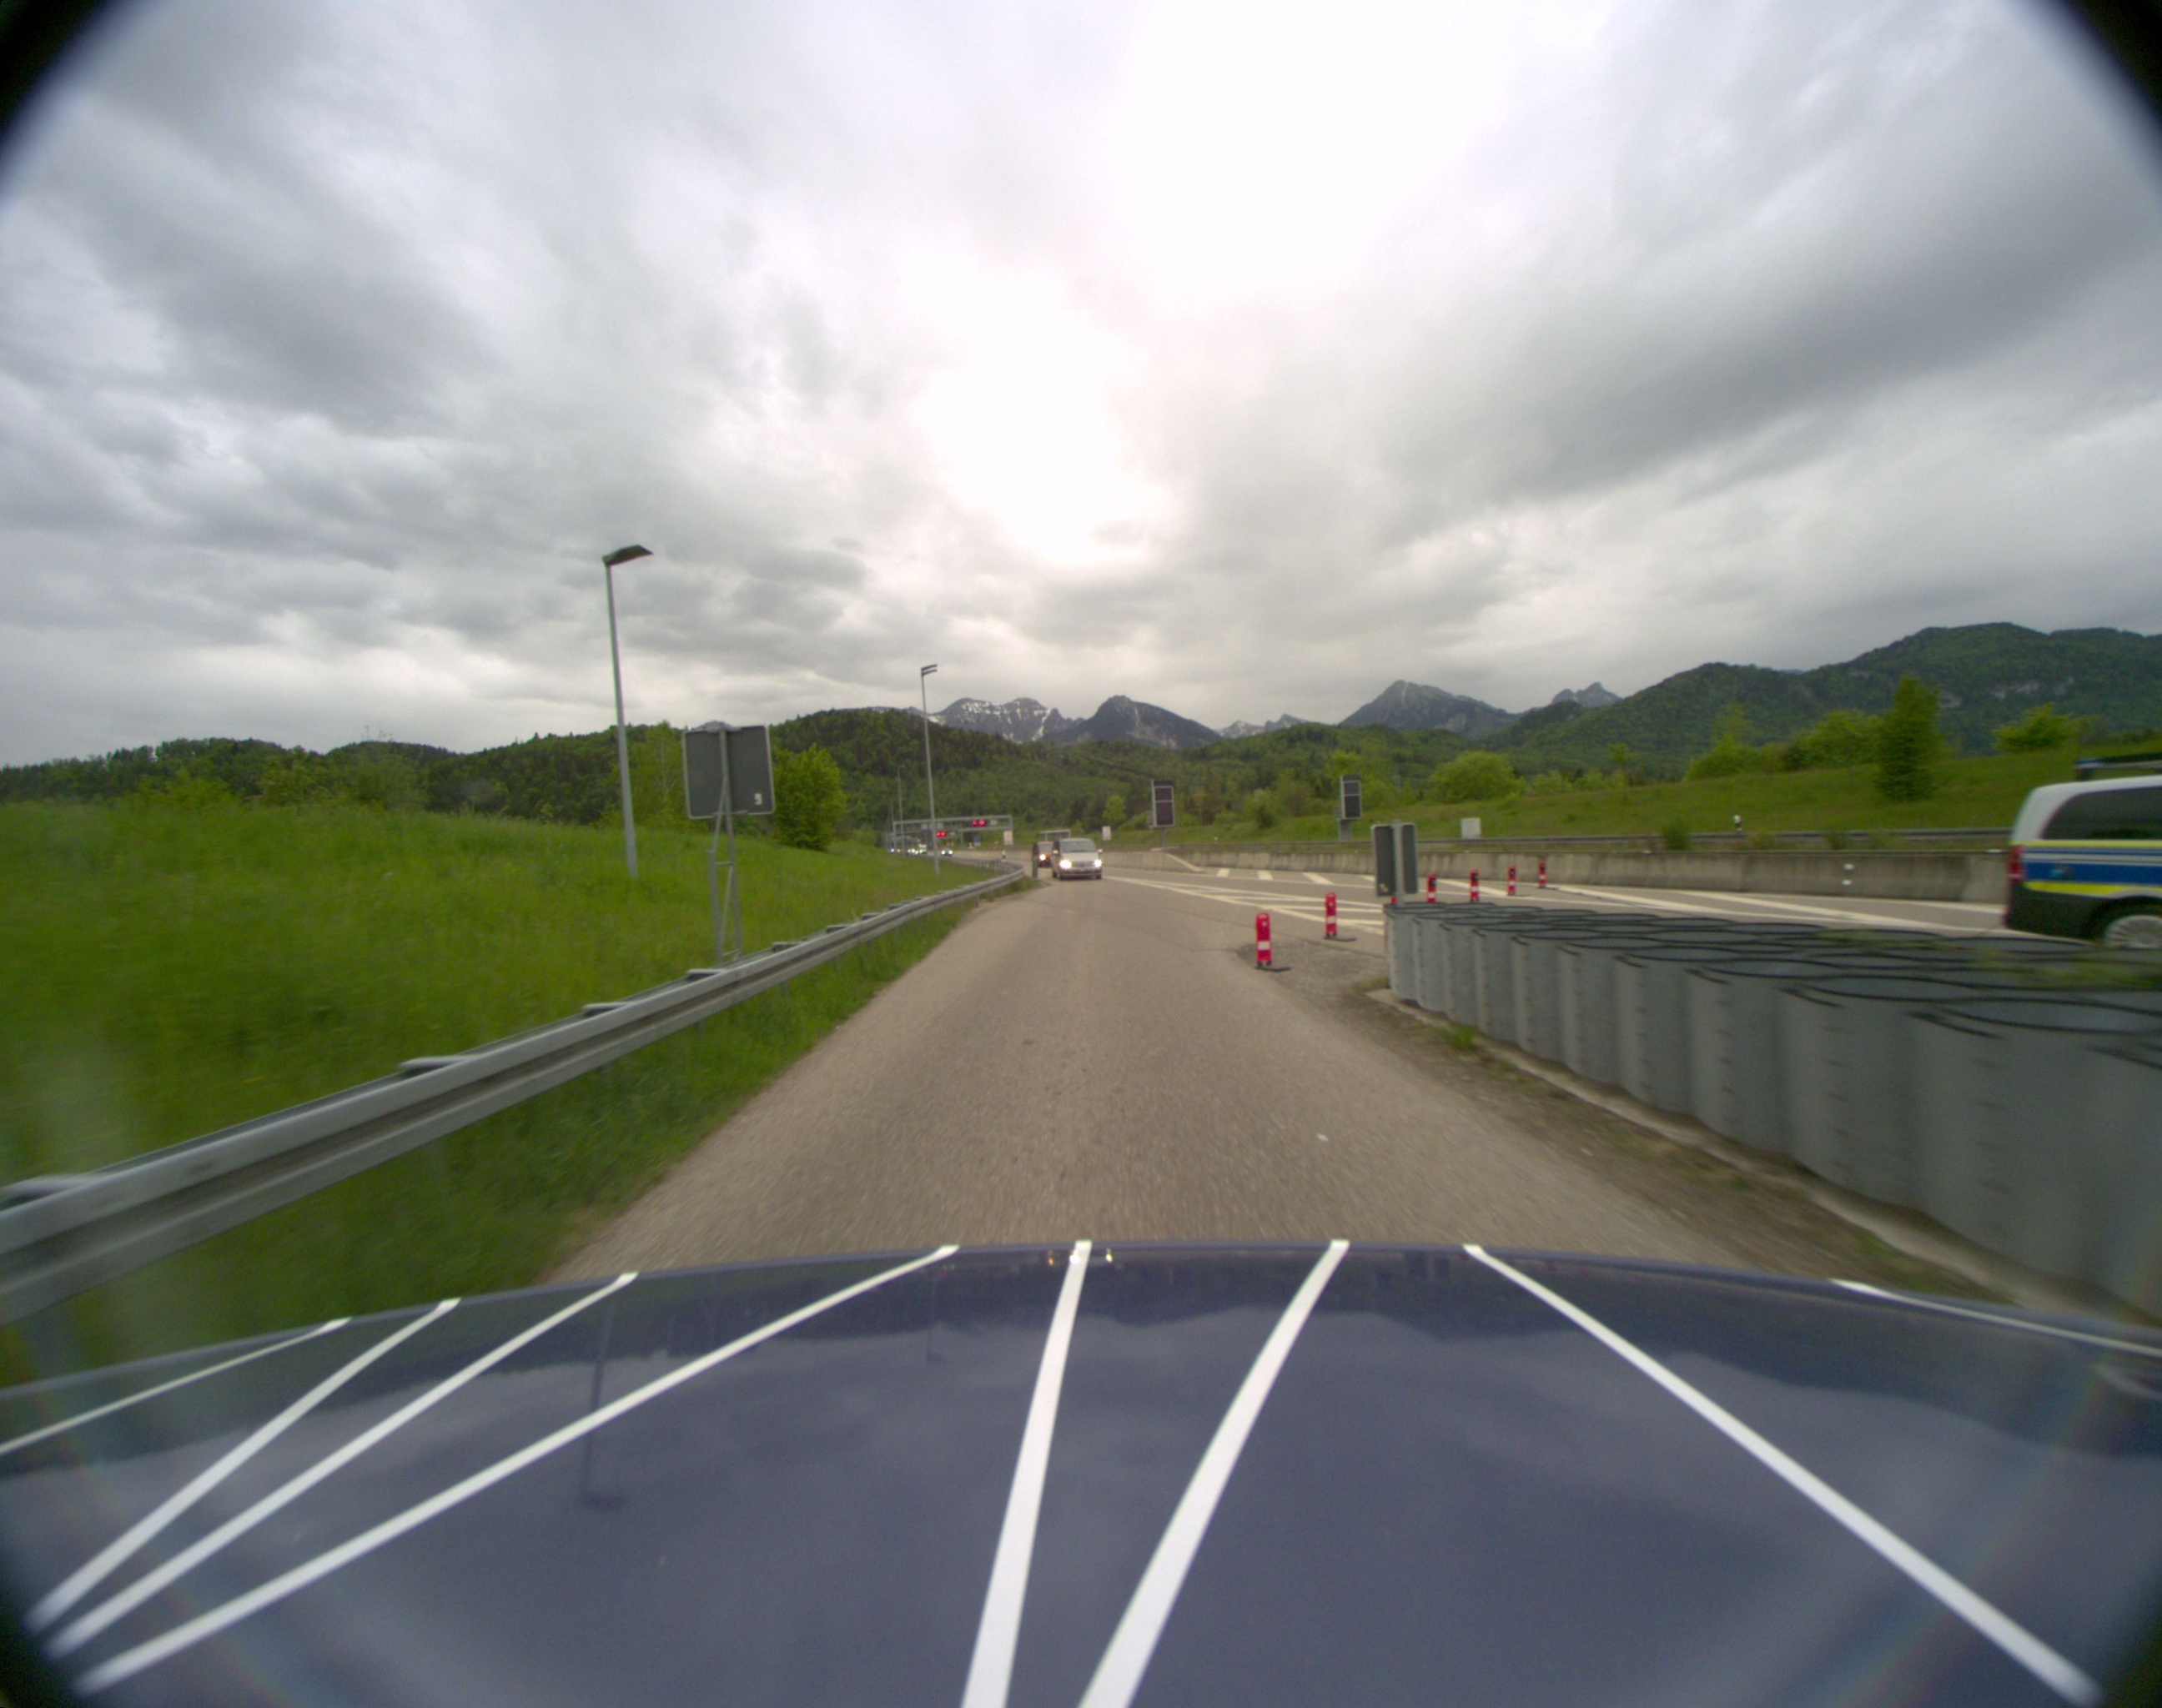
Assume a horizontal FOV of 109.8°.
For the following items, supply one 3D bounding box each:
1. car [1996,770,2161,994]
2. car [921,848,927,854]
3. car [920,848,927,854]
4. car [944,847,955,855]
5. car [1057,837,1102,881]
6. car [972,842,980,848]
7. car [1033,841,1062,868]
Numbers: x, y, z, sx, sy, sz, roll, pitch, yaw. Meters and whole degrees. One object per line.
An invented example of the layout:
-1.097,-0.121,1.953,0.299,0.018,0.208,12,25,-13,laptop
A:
11.132,0.228,5.645,2.294,2.002,5.043,-2,1,-13,car
-49.922,-0.895,241.404,1.632,1.688,3.492,-2,1,-11,car
-44.688,-0.746,215.710,1.632,1.688,3.492,-2,1,-11,car
-24.109,-0.570,139.559,1.665,1.329,3.787,-2,1,-14,car
-0.093,0.177,35.198,1.923,1.871,5.137,-1,1,-1,car
-31.620,-2.753,228.690,1.915,1.688,3.492,-2,1,-11,car
-2.347,0.008,53.605,1.756,1.795,3.999,-2,1,1,car
